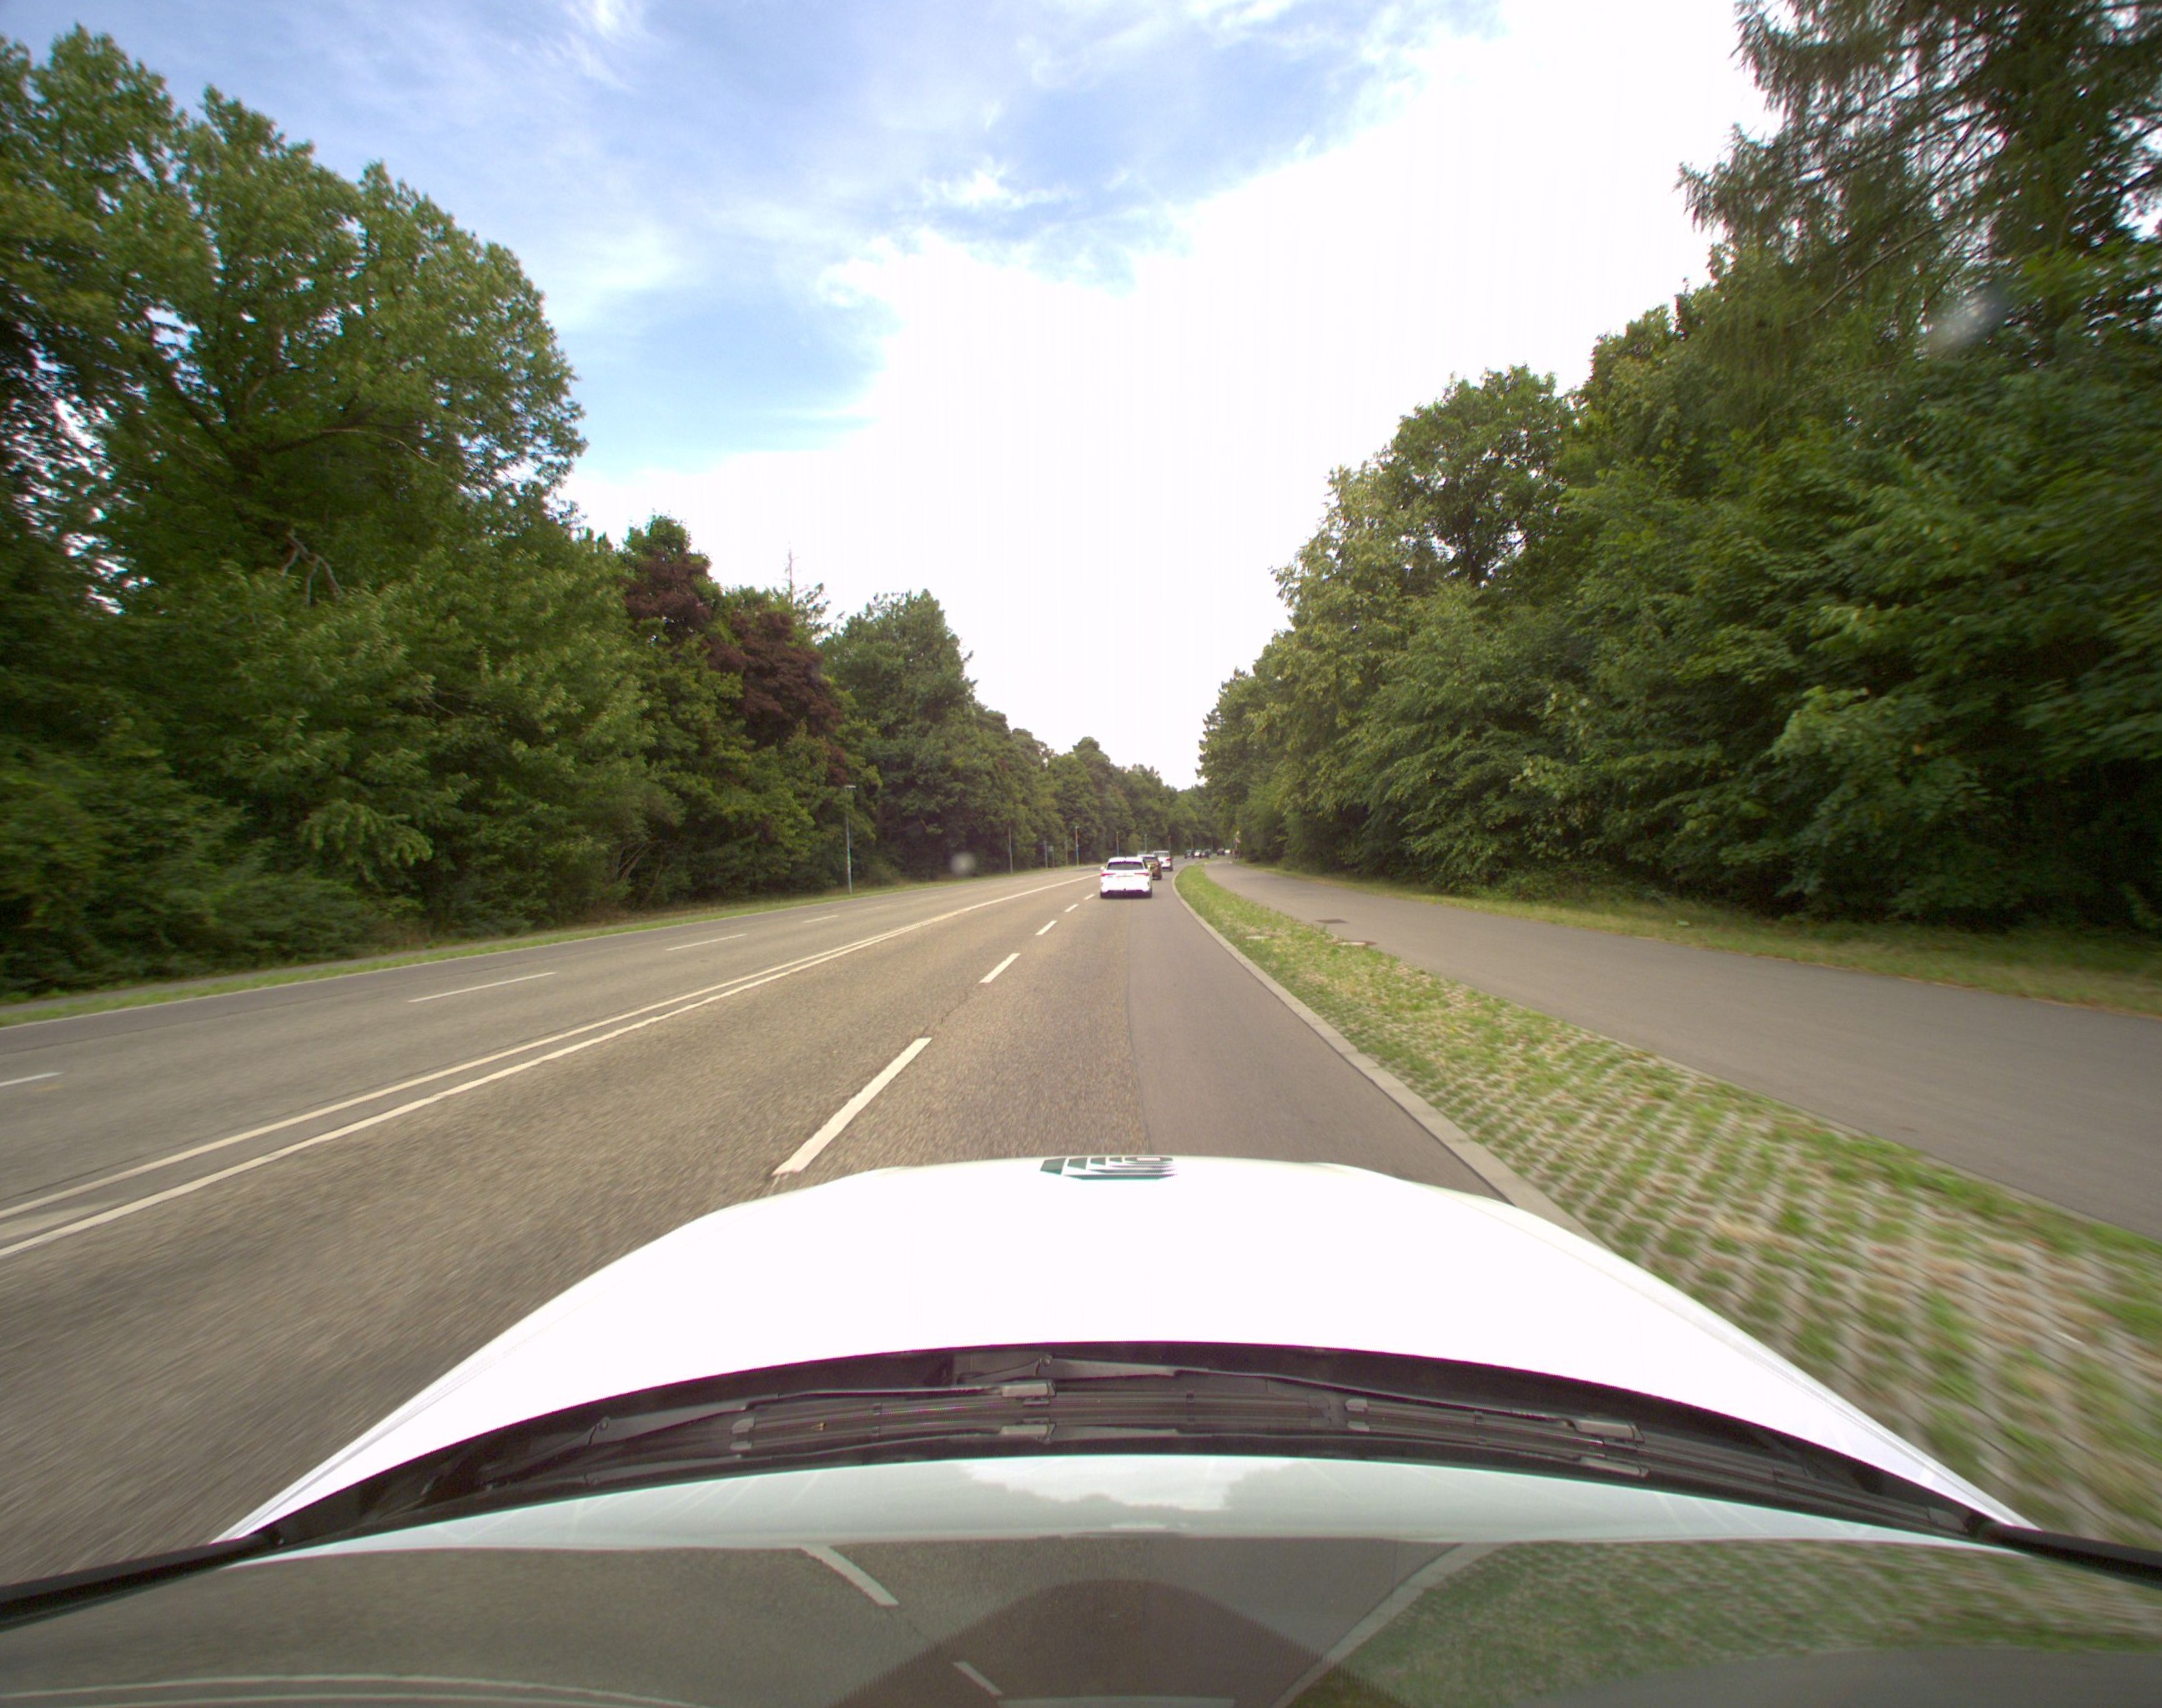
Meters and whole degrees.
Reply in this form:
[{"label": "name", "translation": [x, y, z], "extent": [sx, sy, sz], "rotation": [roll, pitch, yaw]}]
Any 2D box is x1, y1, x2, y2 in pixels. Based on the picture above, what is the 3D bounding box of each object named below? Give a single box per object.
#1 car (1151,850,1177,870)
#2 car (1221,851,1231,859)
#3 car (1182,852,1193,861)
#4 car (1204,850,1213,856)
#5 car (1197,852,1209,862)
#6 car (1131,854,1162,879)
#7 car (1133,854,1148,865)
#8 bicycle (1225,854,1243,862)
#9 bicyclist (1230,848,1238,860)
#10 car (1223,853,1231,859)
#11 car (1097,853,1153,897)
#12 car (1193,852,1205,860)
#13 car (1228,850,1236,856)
[{"label": "car", "translation": [7.029, 0.512, 68.547], "extent": [1.982, 1.607, 4.010], "rotation": [0, -1, 9]}, {"label": "car", "translation": [36.266, 0.263, 203.604], "extent": [1.979, 1.783, 4.016], "rotation": [0, -1, 15]}, {"label": "car", "translation": [21.404, 0.536, 163.910], "extent": [1.980, 1.783, 4.013], "rotation": [0, -1, 12]}, {"label": "car", "translation": [35.640, -0.268, 227.480], "extent": [1.859, 1.431, 4.017], "rotation": [-2, 0, 16]}, {"label": "car", "translation": [23.914, 0.604, 159.309], "extent": [1.980, 1.783, 4.014], "rotation": [0, -1, 13]}, {"label": "car", "translation": [3.730, 0.717, 46.976], "extent": [1.629, 1.420, 4.003], "rotation": [0, -1, 3]}, {"label": "car", "translation": [10.307, 0.982, 141.096], "extent": [1.980, 1.791, 4.762], "rotation": [0, -1, 12]}, {"label": "bicycle", "translation": [19.119, 0.510, 101.816], "extent": [2.160, 0.994, 0.713], "rotation": [-2, -1, 10]}, {"label": "bicyclist", "translation": [19.097, 0.023, 101.810], "extent": [0.893, 1.470, 0.713], "rotation": [-2, -1, 11]}, {"label": "car", "translation": [43.978, 0.639, 245.195], "extent": [1.873, 1.816, 4.019], "rotation": [0, -1, 19]}, {"label": "car", "translation": [1.574, 0.737, 29.272], "extent": [1.829, 1.410, 4.494], "rotation": [-2, -1, 3]}, {"label": "car", "translation": [26.293, 0.511, 180.882], "extent": [1.978, 1.783, 4.018], "rotation": [0, -1, 17]}, {"label": "car", "translation": [43.312, -0.276, 233.548], "extent": [1.979, 1.706, 4.015], "rotation": [-2, 0, 13]}]
